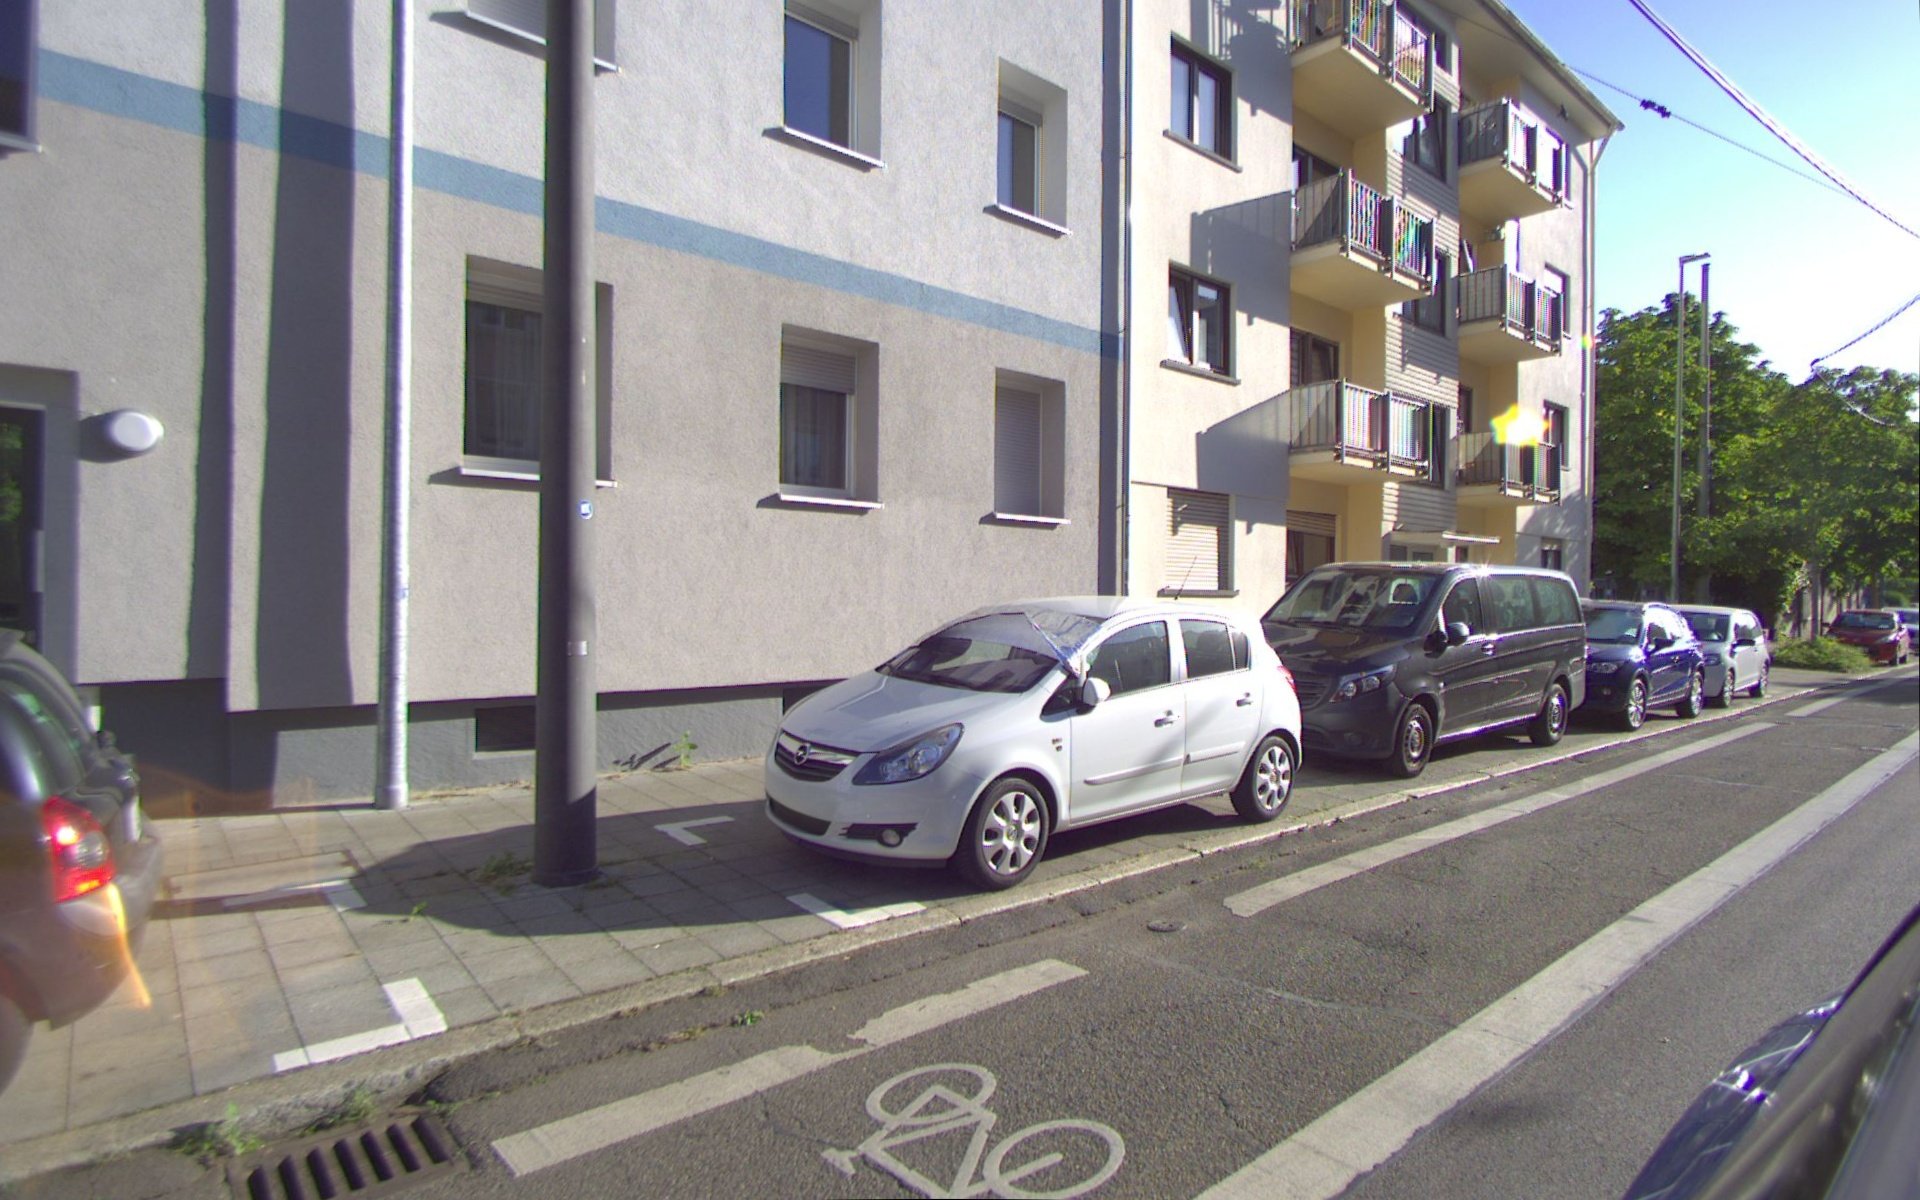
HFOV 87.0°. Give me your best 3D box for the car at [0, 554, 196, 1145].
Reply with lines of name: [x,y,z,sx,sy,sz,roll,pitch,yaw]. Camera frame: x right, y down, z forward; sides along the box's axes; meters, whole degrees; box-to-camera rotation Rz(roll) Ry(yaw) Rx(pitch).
car: [-4.249,0.650,2.402,3.834,1.590,1.613,0,2,-39]

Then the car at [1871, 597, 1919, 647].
car: [32.936,0.722,34.837,4.400,1.590,1.827,0,2,-42]

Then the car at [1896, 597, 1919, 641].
car: [37.050,0.713,38.375,4.400,1.590,1.827,0,2,-42]

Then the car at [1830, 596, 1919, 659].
car: [26.052,0.709,28.535,4.399,1.590,1.612,0,2,-40]

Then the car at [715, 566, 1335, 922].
car: [0.598,0.630,6.537,3.836,1.590,1.804,0,2,-41]

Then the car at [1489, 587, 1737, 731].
car: [8.770,0.661,13.458,4.144,1.590,1.612,0,2,-40]

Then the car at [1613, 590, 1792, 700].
car: [12.220,0.659,16.593,3.568,1.561,1.556,0,2,-40]

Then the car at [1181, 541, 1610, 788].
car: [4.593,0.477,10.280,4.914,1.945,1.934,0,2,-40]
